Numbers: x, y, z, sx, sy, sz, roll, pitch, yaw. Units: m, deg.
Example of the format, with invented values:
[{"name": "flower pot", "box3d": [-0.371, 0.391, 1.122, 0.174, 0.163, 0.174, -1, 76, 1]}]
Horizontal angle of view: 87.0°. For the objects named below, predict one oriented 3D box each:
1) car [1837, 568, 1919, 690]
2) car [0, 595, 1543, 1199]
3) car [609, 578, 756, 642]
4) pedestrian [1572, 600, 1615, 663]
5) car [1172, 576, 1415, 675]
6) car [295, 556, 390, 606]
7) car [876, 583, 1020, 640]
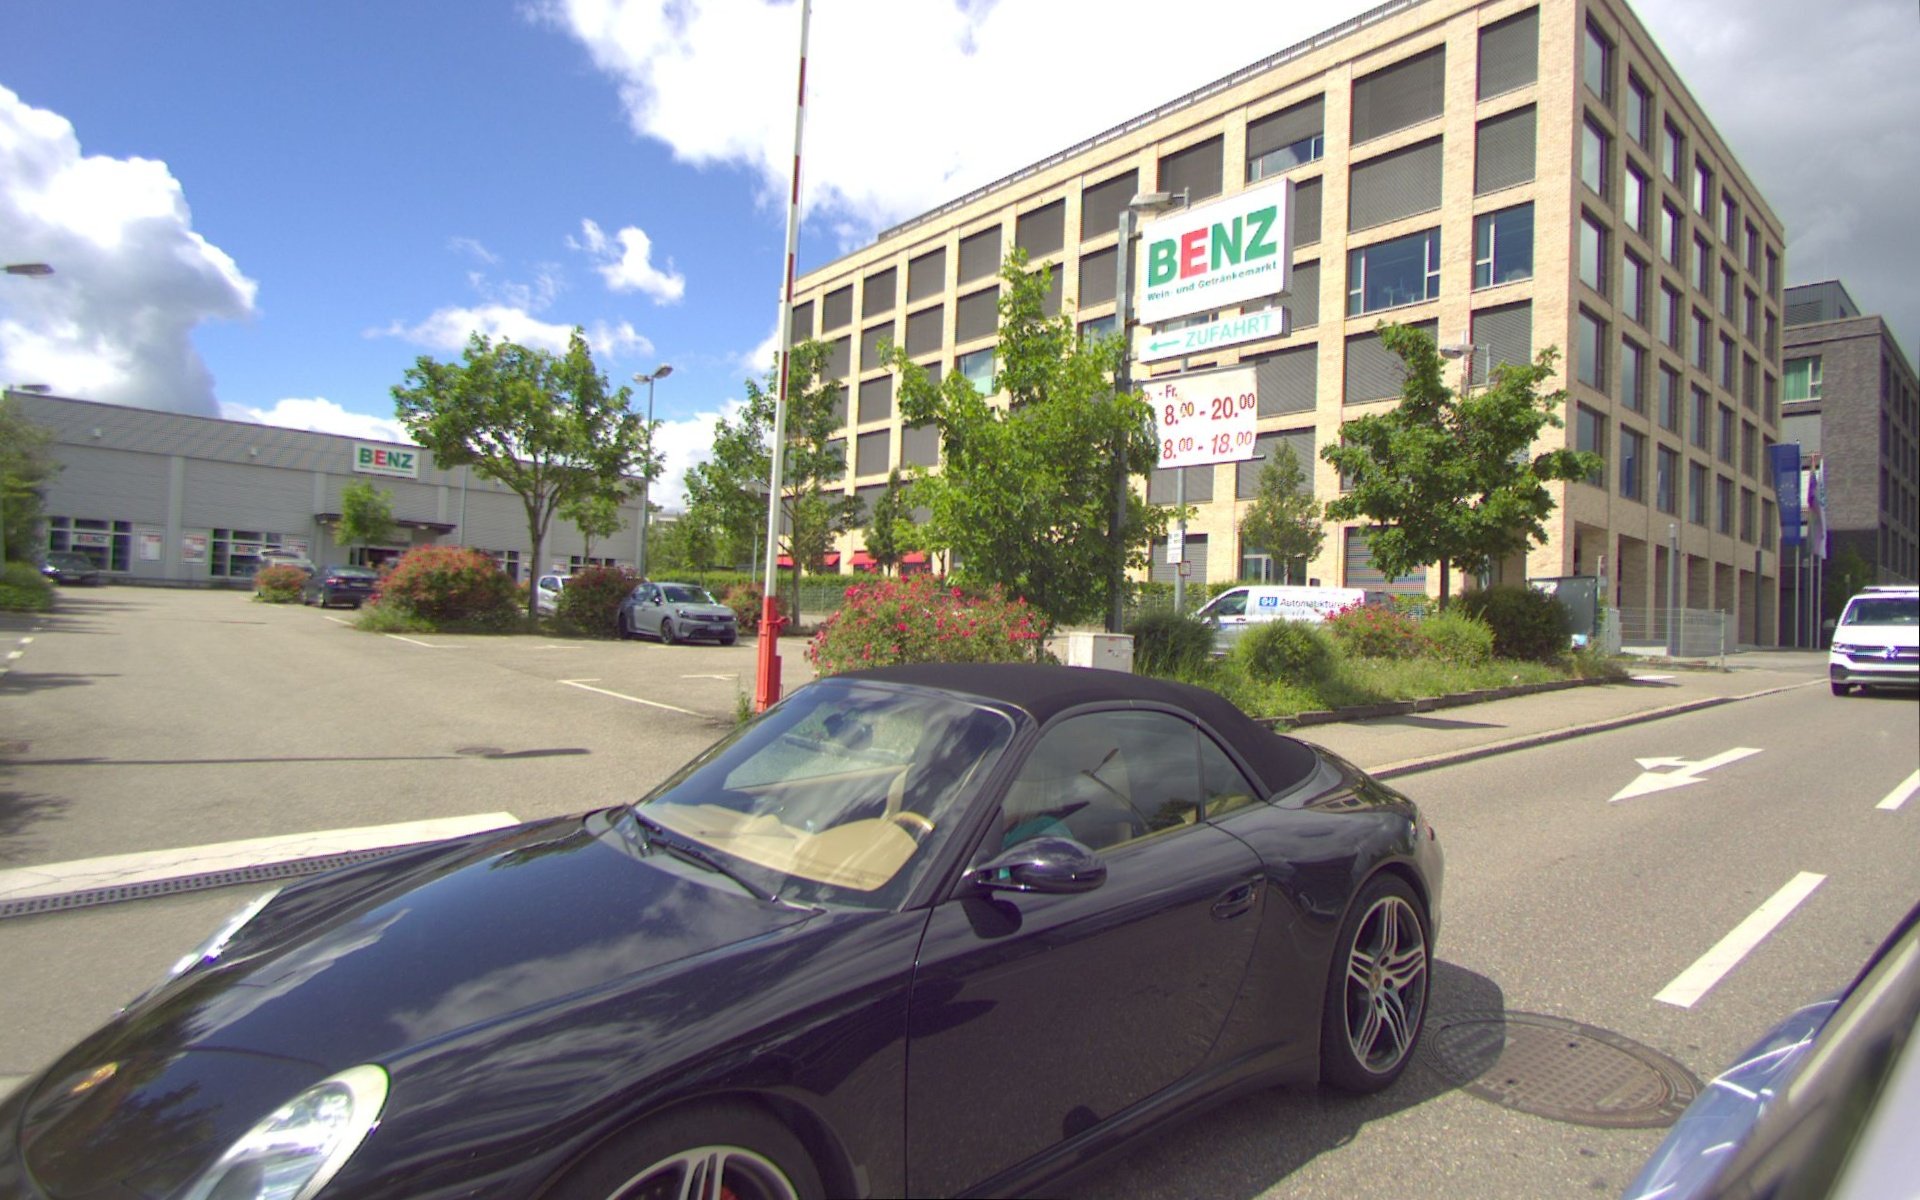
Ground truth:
[{"name": "car", "box3d": [18.157, 0.597, 18.980, 4.131, 2.117, 1.935, 3, -2, -40]}, {"name": "car", "box3d": [-0.203, 0.853, 3.034, 4.129, 1.394, 1.936, 6, -3, -38]}, {"name": "car", "box3d": [-6.821, 0.207, 24.688, 1.856, 1.386, 3.875, 2, 0, -43]}, {"name": "pedestrian", "box3d": [16.233, 0.800, 25.922, 0.841, 1.555, 0.688, 2, -1, -41]}, {"name": "car", "box3d": [7.338, 0.469, 22.563, 4.707, 1.871, 2.057, 3, 2, 43]}, {"name": "car", "box3d": [-20.957, -0.665, 34.274, 1.891, 1.595, 4.297, 1, 1, -43]}, {"name": "car", "box3d": [-0.428, 0.316, 30.829, 1.856, 1.510, 4.438, 2, 0, -43]}]
